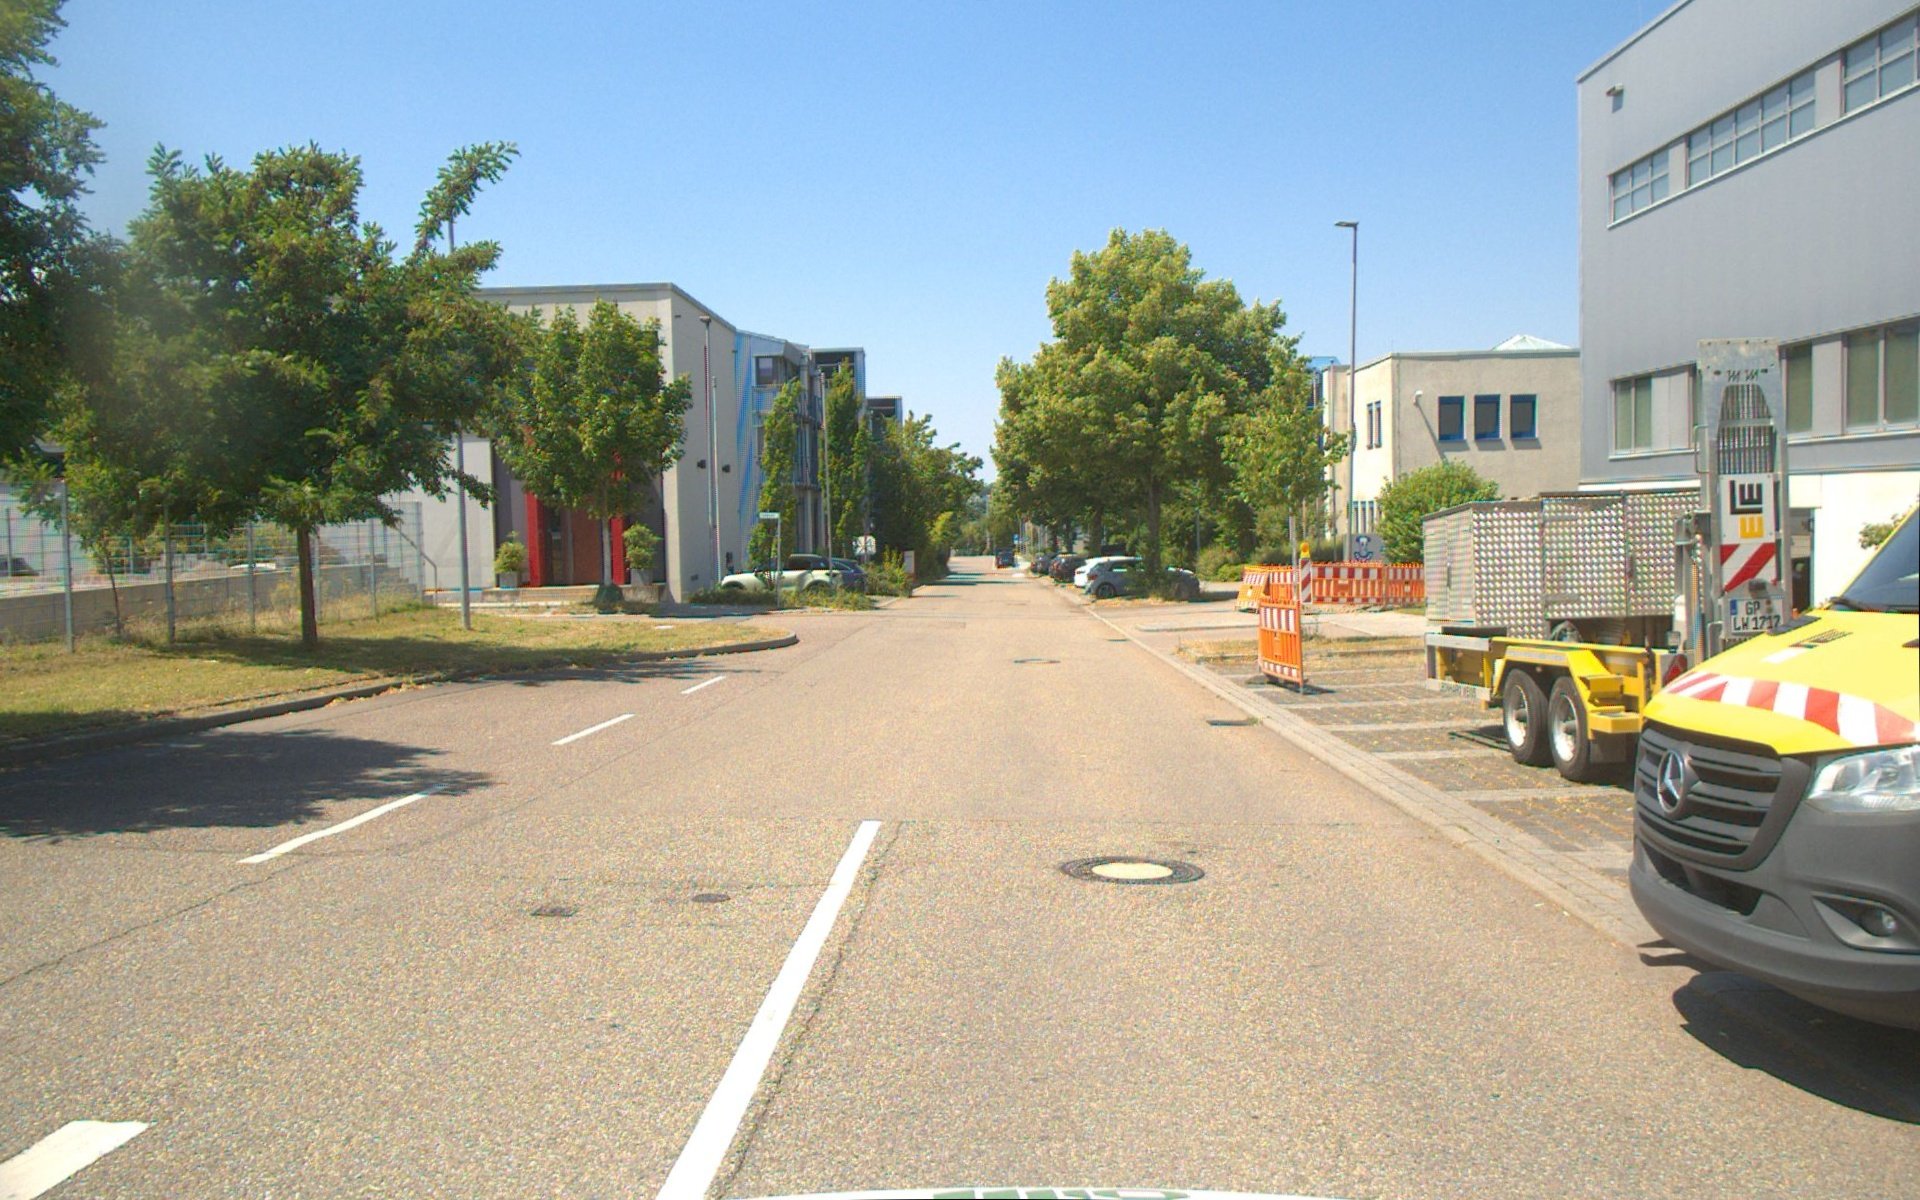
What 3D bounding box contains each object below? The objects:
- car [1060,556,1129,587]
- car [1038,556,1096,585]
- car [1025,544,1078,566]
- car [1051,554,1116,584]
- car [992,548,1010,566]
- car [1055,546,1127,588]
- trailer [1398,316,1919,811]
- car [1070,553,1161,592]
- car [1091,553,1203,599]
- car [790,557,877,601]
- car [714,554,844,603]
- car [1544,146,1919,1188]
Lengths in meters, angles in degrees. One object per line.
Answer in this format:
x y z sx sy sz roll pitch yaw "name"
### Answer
7.273 -1.535 89.749 3.645 1.655 1.814 0 1 1 "car"
7.601 -2.095 117.253 3.856 1.866 1.765 -1 5 -7 "car"
7.141 -3.519 129.251 3.856 1.604 1.765 -1 5 -7 "car"
7.097 -1.791 95.080 3.645 1.655 1.814 0 1 1 "car"
4.205 -4.337 168.585 1.724 1.786 3.946 0 1 2 "car"
6.776 -1.717 85.979 3.645 2.147 1.814 0 1 1 "car"
5.553 -0.308 12.737 2.603 2.906 5.518 -3 1 -2 "trailer"
6.309 -1.126 67.322 3.447 1.378 1.537 -3 1 -3 "car"
6.508 -0.835 57.714 3.606 1.378 1.644 -3 1 -3 "car"
-4.391 -0.732 57.401 2.998 1.504 1.291 0 1 -6 "car"
-5.732 -0.702 52.693 3.964 1.521 1.728 0 1 -1 "car"
5.140 -0.052 5.344 5.660 2.779 2.001 -4 2 2 "car"
